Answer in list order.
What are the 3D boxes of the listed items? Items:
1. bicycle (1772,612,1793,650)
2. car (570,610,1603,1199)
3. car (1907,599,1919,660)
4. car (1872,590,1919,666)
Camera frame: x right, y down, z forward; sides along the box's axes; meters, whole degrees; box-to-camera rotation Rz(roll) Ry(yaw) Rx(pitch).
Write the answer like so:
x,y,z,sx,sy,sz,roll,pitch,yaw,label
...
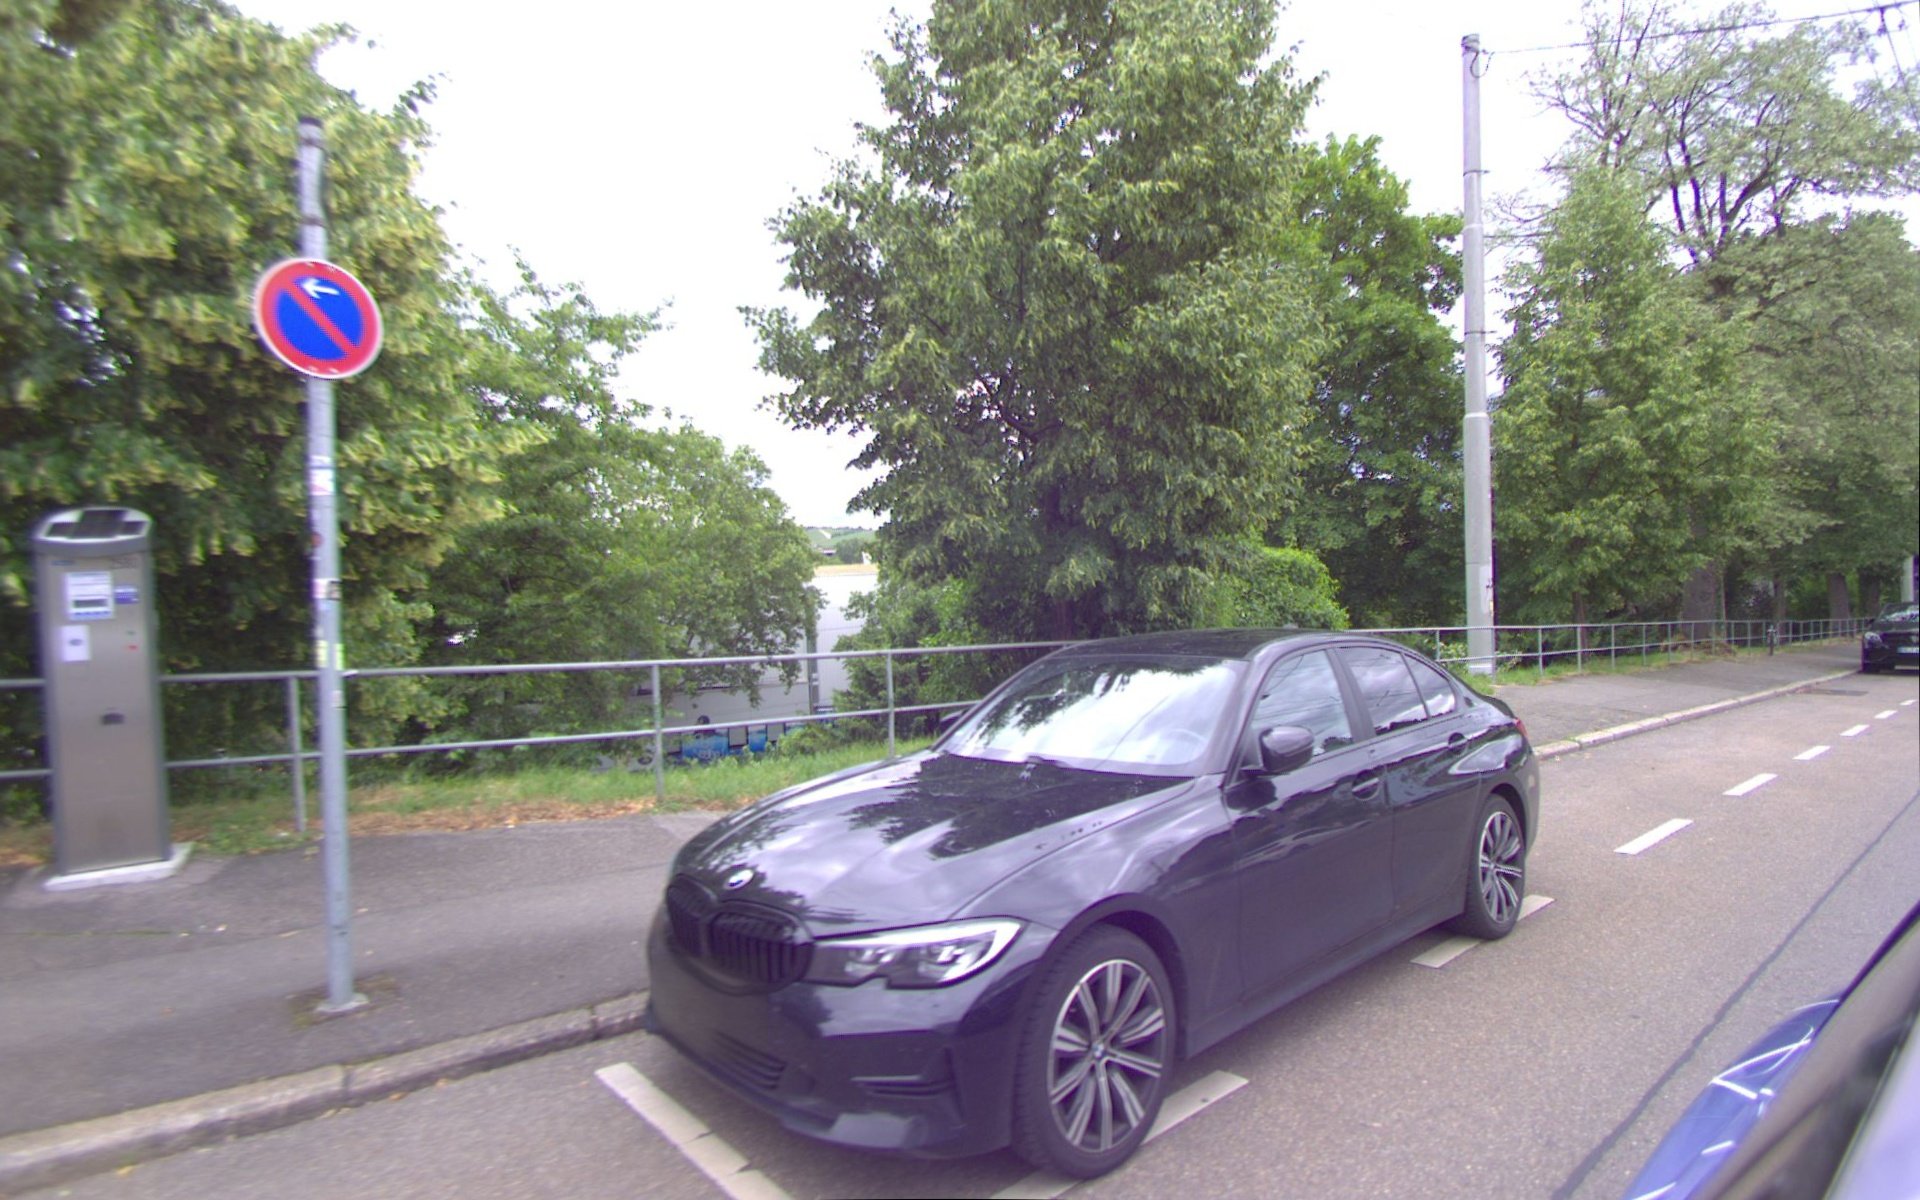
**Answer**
x,y,z,sx,sy,sz,roll,pitch,yaw,label
23.132,0.851,28.465,0.426,0.988,1.770,0,1,39,bicycle
1.006,0.820,4.463,4.764,1.448,1.830,-1,-1,-42,car
27.902,0.764,28.299,4.018,1.653,1.727,0,-3,-43,car
23.556,0.620,24.266,4.974,1.699,1.880,0,-2,-41,car
